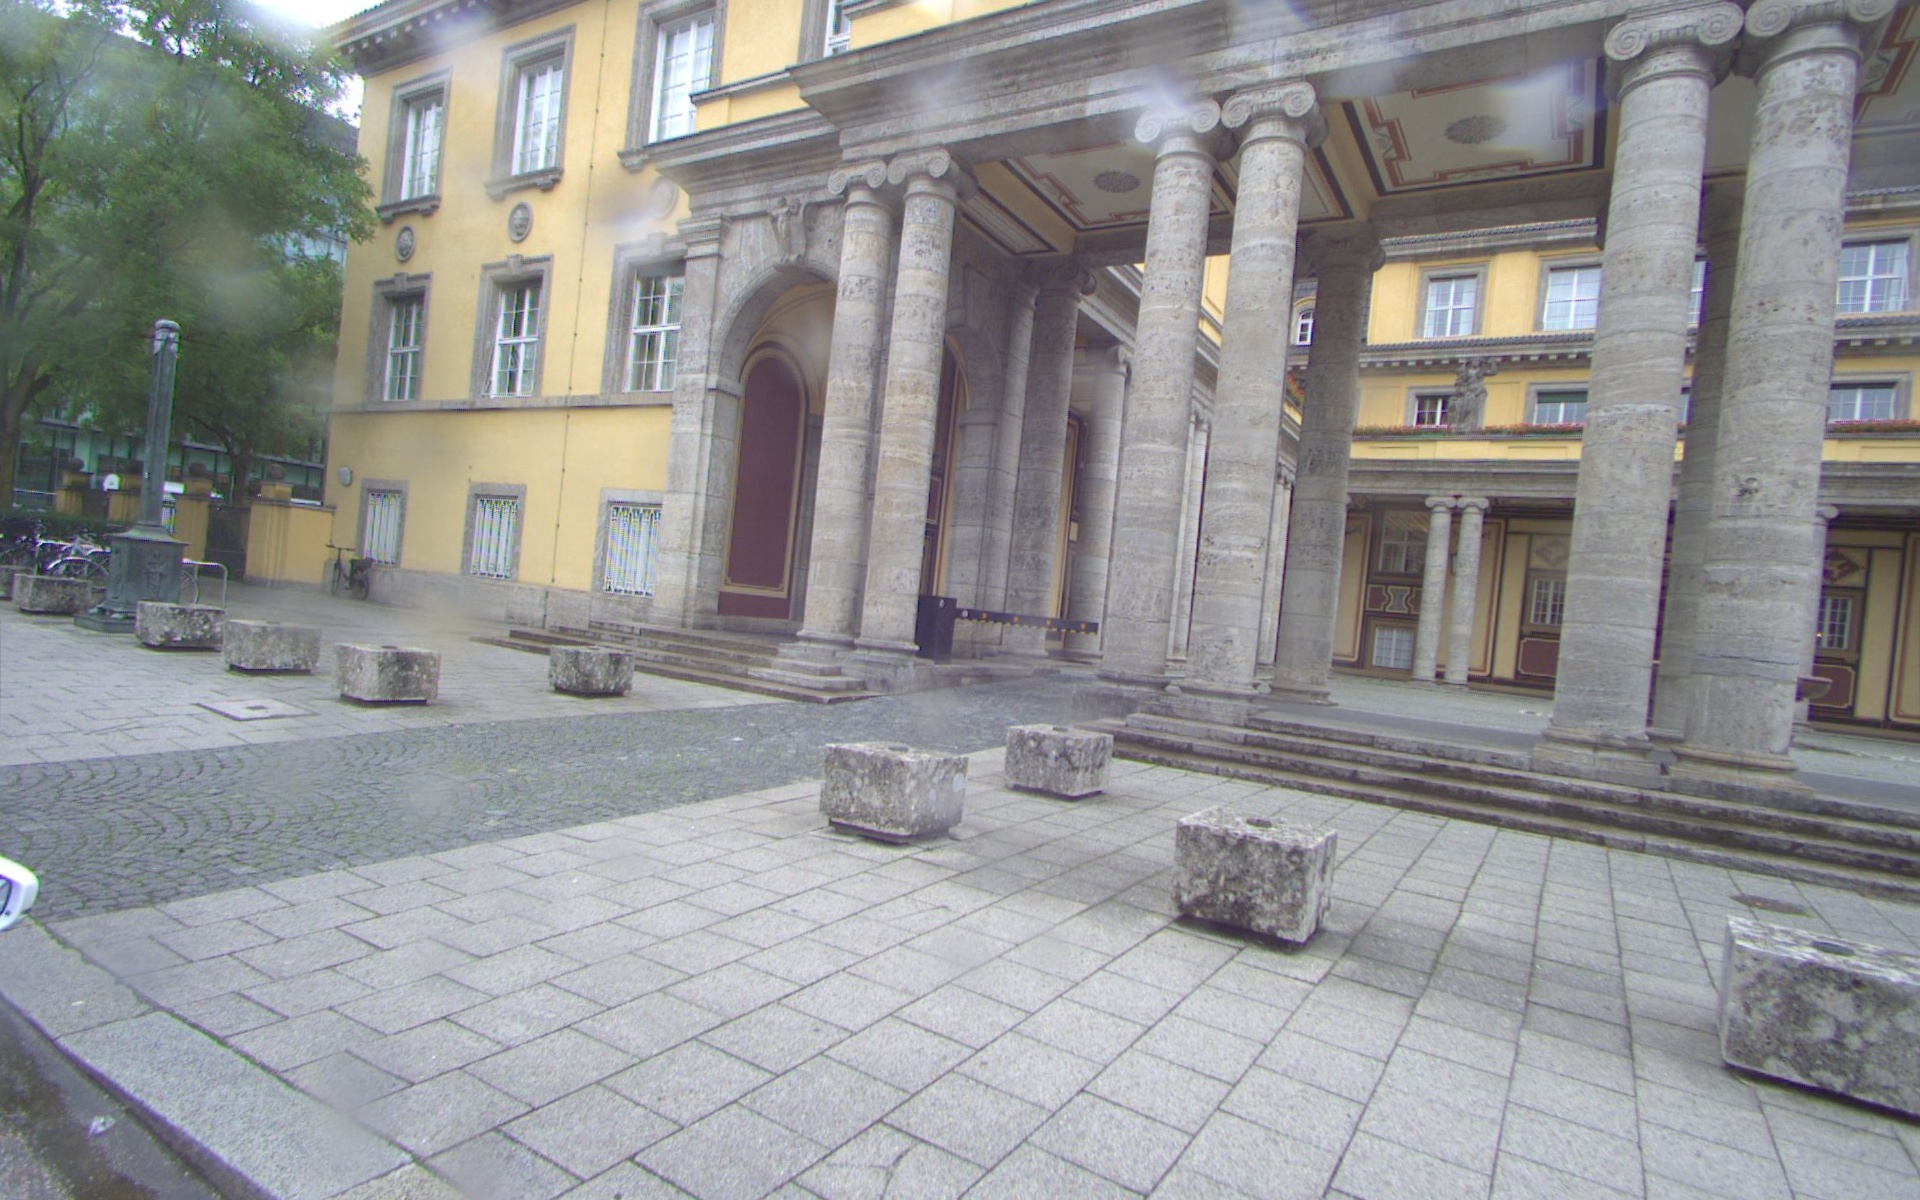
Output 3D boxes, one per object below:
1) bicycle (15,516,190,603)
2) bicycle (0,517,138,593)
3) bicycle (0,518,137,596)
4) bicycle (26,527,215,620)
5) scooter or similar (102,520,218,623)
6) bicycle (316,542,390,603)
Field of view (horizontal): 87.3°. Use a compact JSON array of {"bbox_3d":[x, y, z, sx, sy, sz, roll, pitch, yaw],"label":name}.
[{"bbox_3d":[-13.002,-0.586,15.320,0.464,1.128,1.931,6,1,34],"label":"bicycle"},{"bbox_3d":[-15.376,-0.758,17.211,0.464,1.128,1.932,6,1,33],"label":"bicycle"},{"bbox_3d":[-14.863,-0.700,16.568,0.464,1.128,1.931,6,1,34],"label":"bicycle"},{"bbox_3d":[-11.573,-0.330,13.952,0.463,1.128,1.934,6,1,29],"label":"bicycle"},{"bbox_3d":[-10.509,-0.370,13.241,0.996,1.238,0.536,5,2,-13],"label":"scooter or similar"},{"bbox_3d":[-13.560,-0.627,22.455,1.870,1.169,0.542,7,1,31],"label":"bicycle"}]
